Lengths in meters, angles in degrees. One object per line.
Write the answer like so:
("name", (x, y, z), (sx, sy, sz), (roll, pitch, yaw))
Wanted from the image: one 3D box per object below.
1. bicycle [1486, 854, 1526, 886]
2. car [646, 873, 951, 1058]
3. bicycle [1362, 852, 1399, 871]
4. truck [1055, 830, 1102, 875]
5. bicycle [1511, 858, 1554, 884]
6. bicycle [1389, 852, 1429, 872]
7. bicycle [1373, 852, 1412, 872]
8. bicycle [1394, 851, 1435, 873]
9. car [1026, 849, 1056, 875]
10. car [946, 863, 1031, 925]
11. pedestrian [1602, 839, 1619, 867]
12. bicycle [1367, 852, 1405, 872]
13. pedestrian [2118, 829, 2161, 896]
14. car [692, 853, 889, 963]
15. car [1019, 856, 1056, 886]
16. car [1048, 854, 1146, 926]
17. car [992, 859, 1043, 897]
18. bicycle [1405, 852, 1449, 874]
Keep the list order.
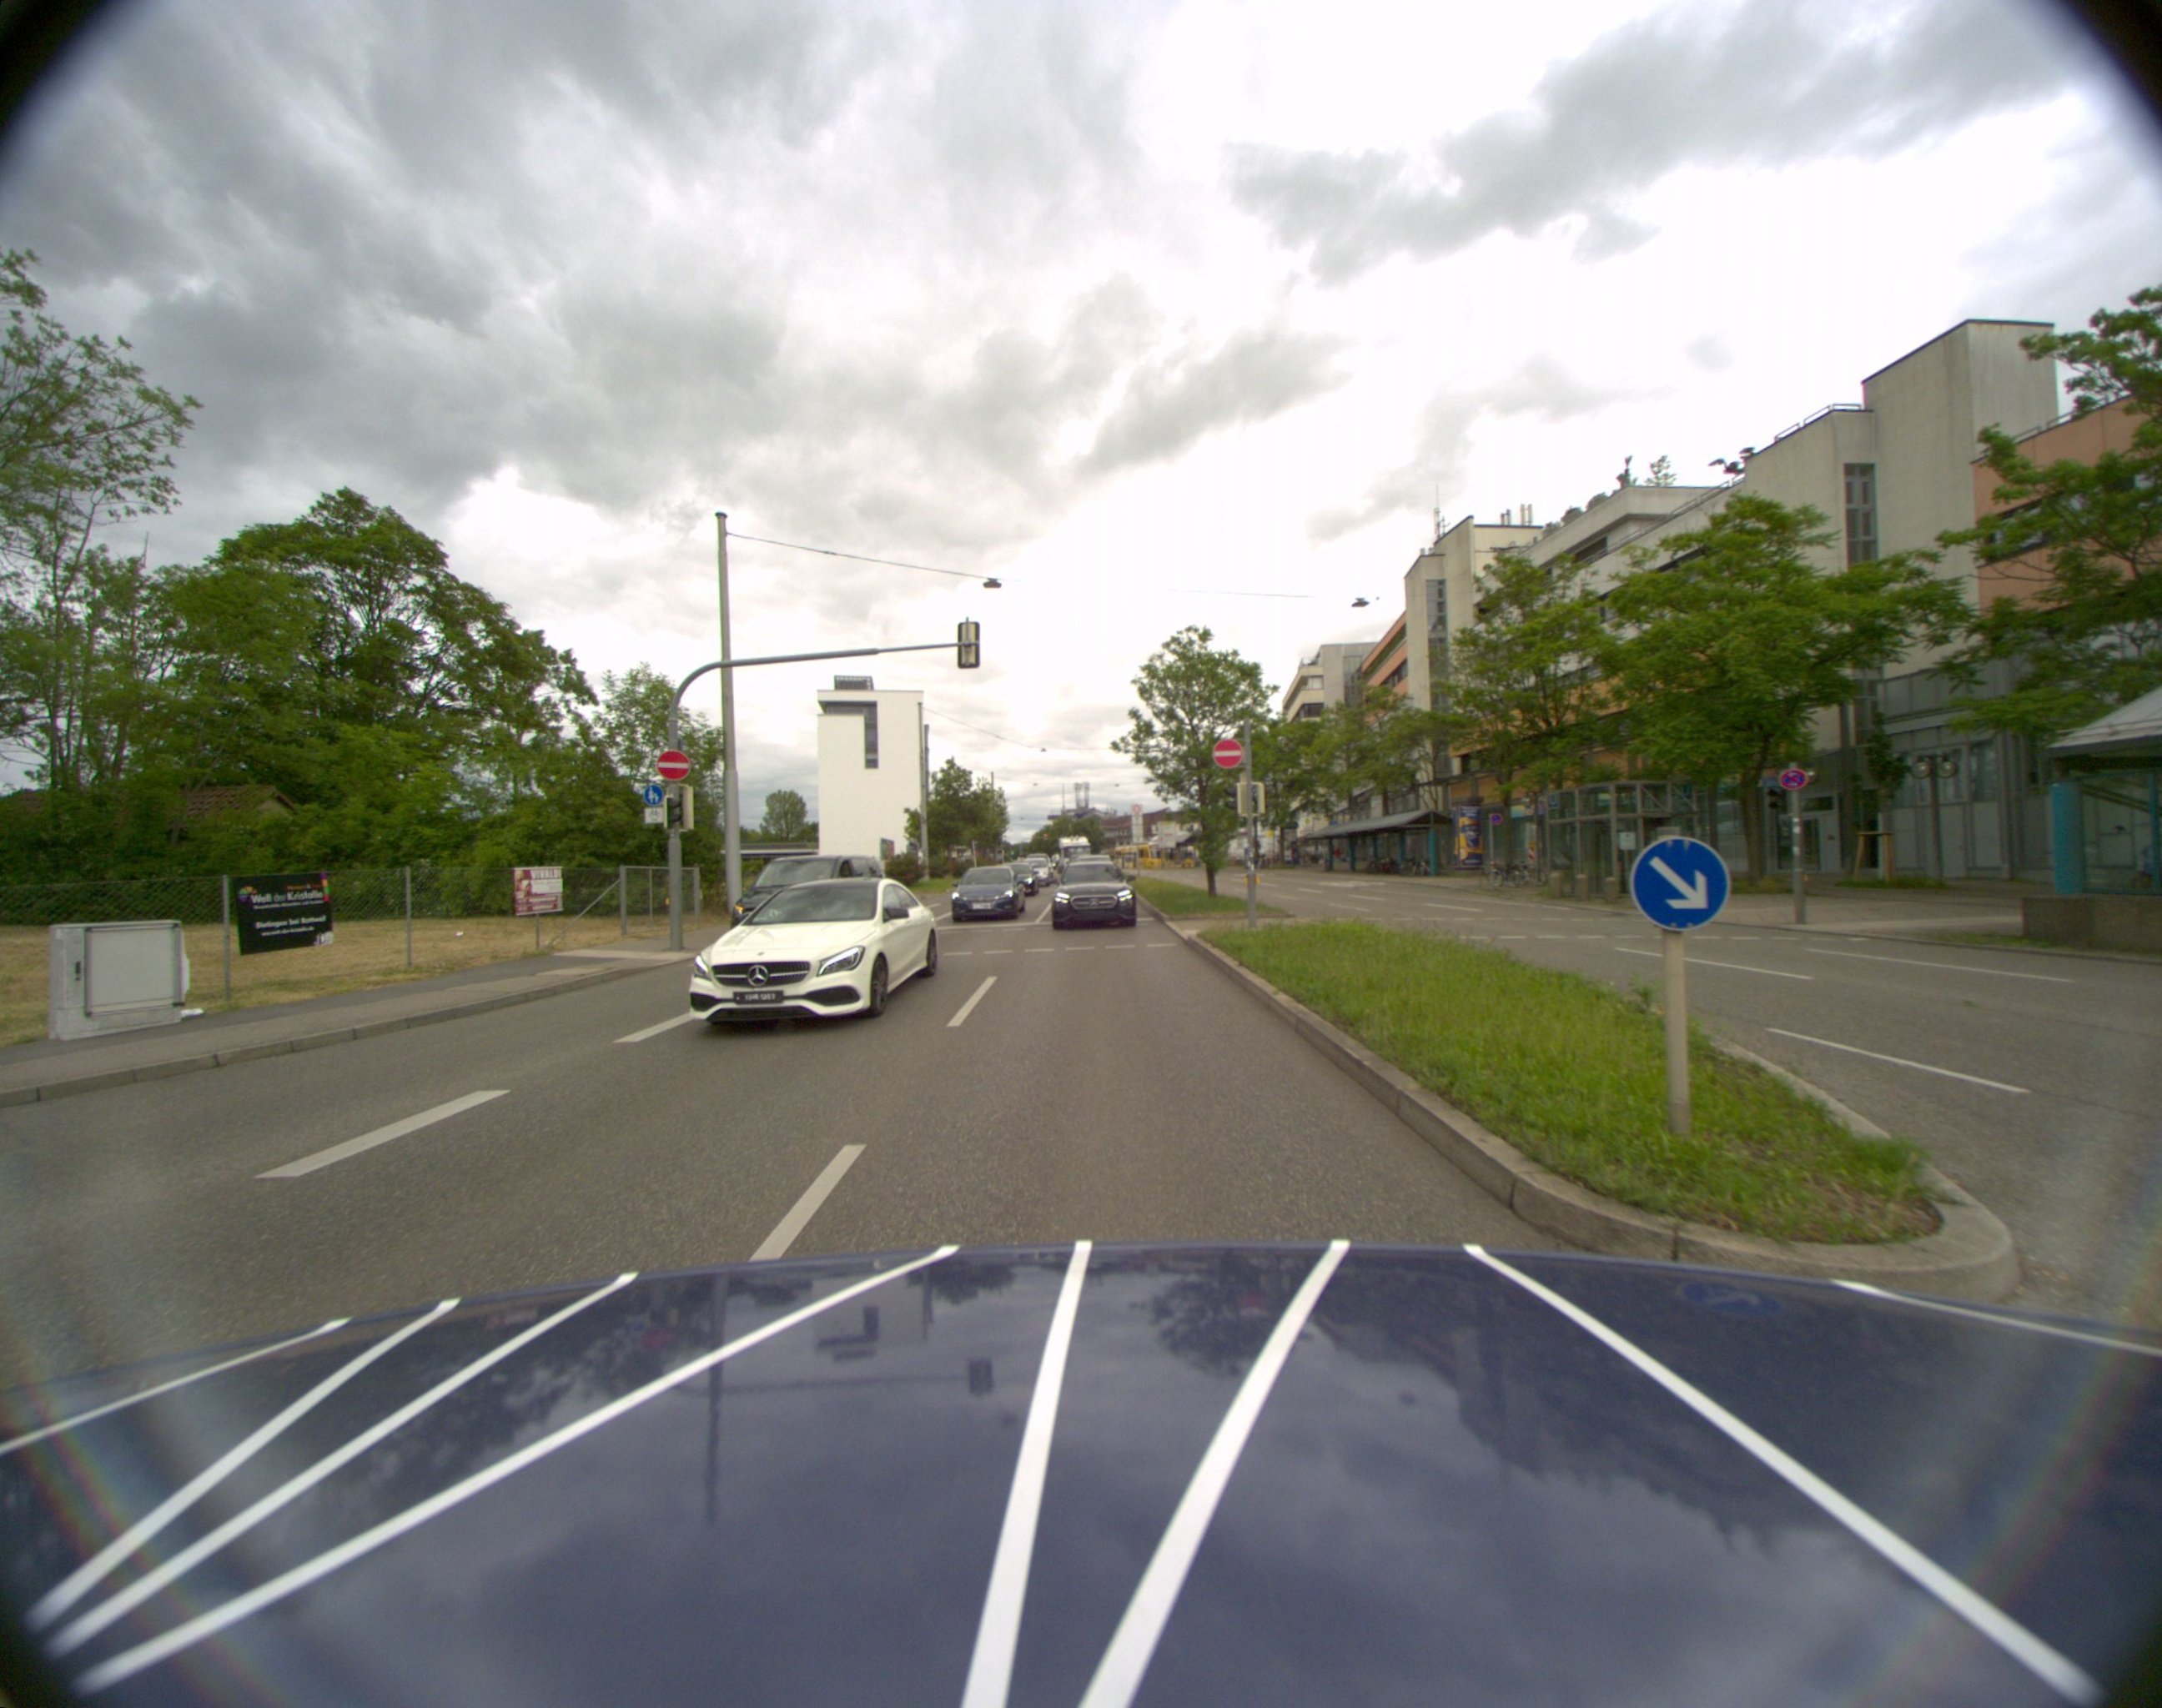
("bicycle", (17.344, 0.640, 31.080), (0.521, 1.217, 1.949), (-3, 0, 1))
("car", (-2.924, 1.054, 9.128), (1.798, 1.464, 4.699), (-1, 0, 1))
("bicycle", (18.675, 0.442, 47.442), (2.069, 1.084, 0.542), (-3, 1, -1))
("truck", (-0.294, -0.125, 60.344), (3.120, 3.209, 6.522), (-3, 0, -5))
("bicycle", (18.587, 0.678, 31.315), (0.521, 1.021, 2.050), (-3, 0, 1))
("bicycle", (19.101, 0.456, 44.265), (2.070, 1.084, 0.542), (-3, 1, -6))
("bicycle", (18.709, 0.469, 45.629), (2.069, 1.084, 0.542), (-3, 1, -1))
("bicycle", (18.912, 0.461, 43.128), (2.070, 1.132, 0.542), (-3, 1, -6))
("car", (-2.863, 0.537, 54.910), (2.021, 1.759, 3.999), (-1, 0, -2))
("car", (-2.546, 1.070, 21.840), (1.798, 1.464, 4.310), (-2, 0, 1))
("pedestrian", (27.074, -0.068, 38.821), (0.462, 1.424, 0.580), (-1, 1, 1))
("bicycle", (18.667, 0.470, 46.527), (2.069, 1.132, 0.542), (-3, 1, -1))
("pedestrian", (25.070, 0.188, 17.797), (0.687, 1.537, 0.638), (-1, 1, -1))
("car", (-5.766, 0.966, 15.912), (2.015, 1.877, 4.875), (-1, 1, 3))
("car", (-2.448, 0.948, 43.933), (1.798, 1.590, 4.310), (-1, 1, 1))
("car", (0.314, 0.880, 18.602), (2.058, 1.476, 4.975), (-1, -3, -1))
("car", (-2.717, 1.014, 33.535), (1.798, 1.464, 4.310), (-1, 0, 1))
("bicycle", (19.221, 0.479, 42.191), (2.206, 1.084, 0.542), (-3, 1, -6))
